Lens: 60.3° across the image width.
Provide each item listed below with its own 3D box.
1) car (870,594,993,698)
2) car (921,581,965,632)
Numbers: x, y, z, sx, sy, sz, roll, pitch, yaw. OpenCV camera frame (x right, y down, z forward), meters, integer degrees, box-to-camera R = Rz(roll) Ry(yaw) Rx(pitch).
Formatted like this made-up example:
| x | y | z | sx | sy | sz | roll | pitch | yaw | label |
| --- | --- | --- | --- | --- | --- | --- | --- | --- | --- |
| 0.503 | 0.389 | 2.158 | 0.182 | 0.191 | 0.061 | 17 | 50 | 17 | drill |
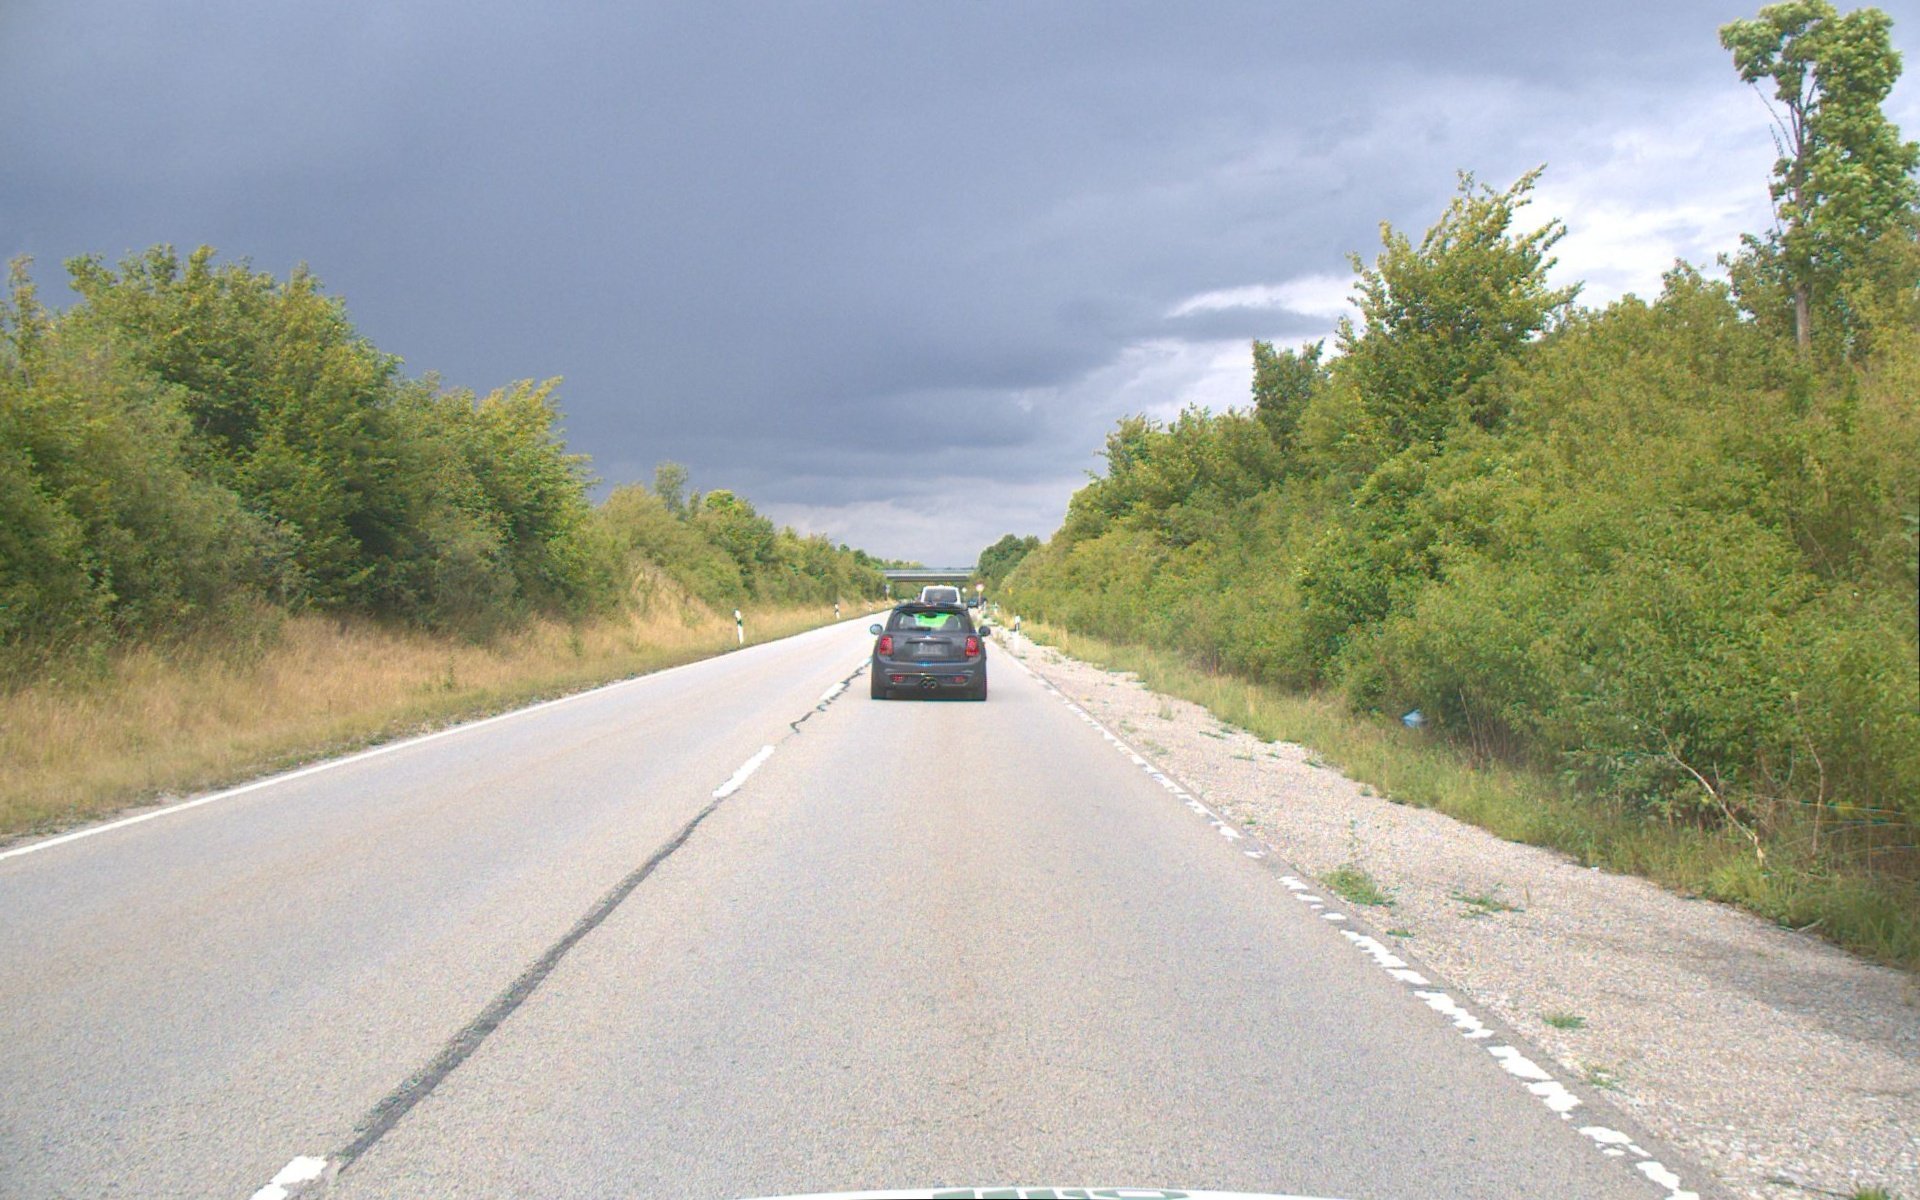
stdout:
| x | y | z | sx | sy | sz | roll | pitch | yaw | label |
| --- | --- | --- | --- | --- | --- | --- | --- | --- | --- |
| -0.439 | 0.654 | 25.523 | 1.721 | 1.452 | 3.999 | 1 | 0 | -1 | car |
| -0.733 | 0.285 | 70.954 | 1.782 | 2.090 | 3.999 | 1 | 0 | -1 | car |
